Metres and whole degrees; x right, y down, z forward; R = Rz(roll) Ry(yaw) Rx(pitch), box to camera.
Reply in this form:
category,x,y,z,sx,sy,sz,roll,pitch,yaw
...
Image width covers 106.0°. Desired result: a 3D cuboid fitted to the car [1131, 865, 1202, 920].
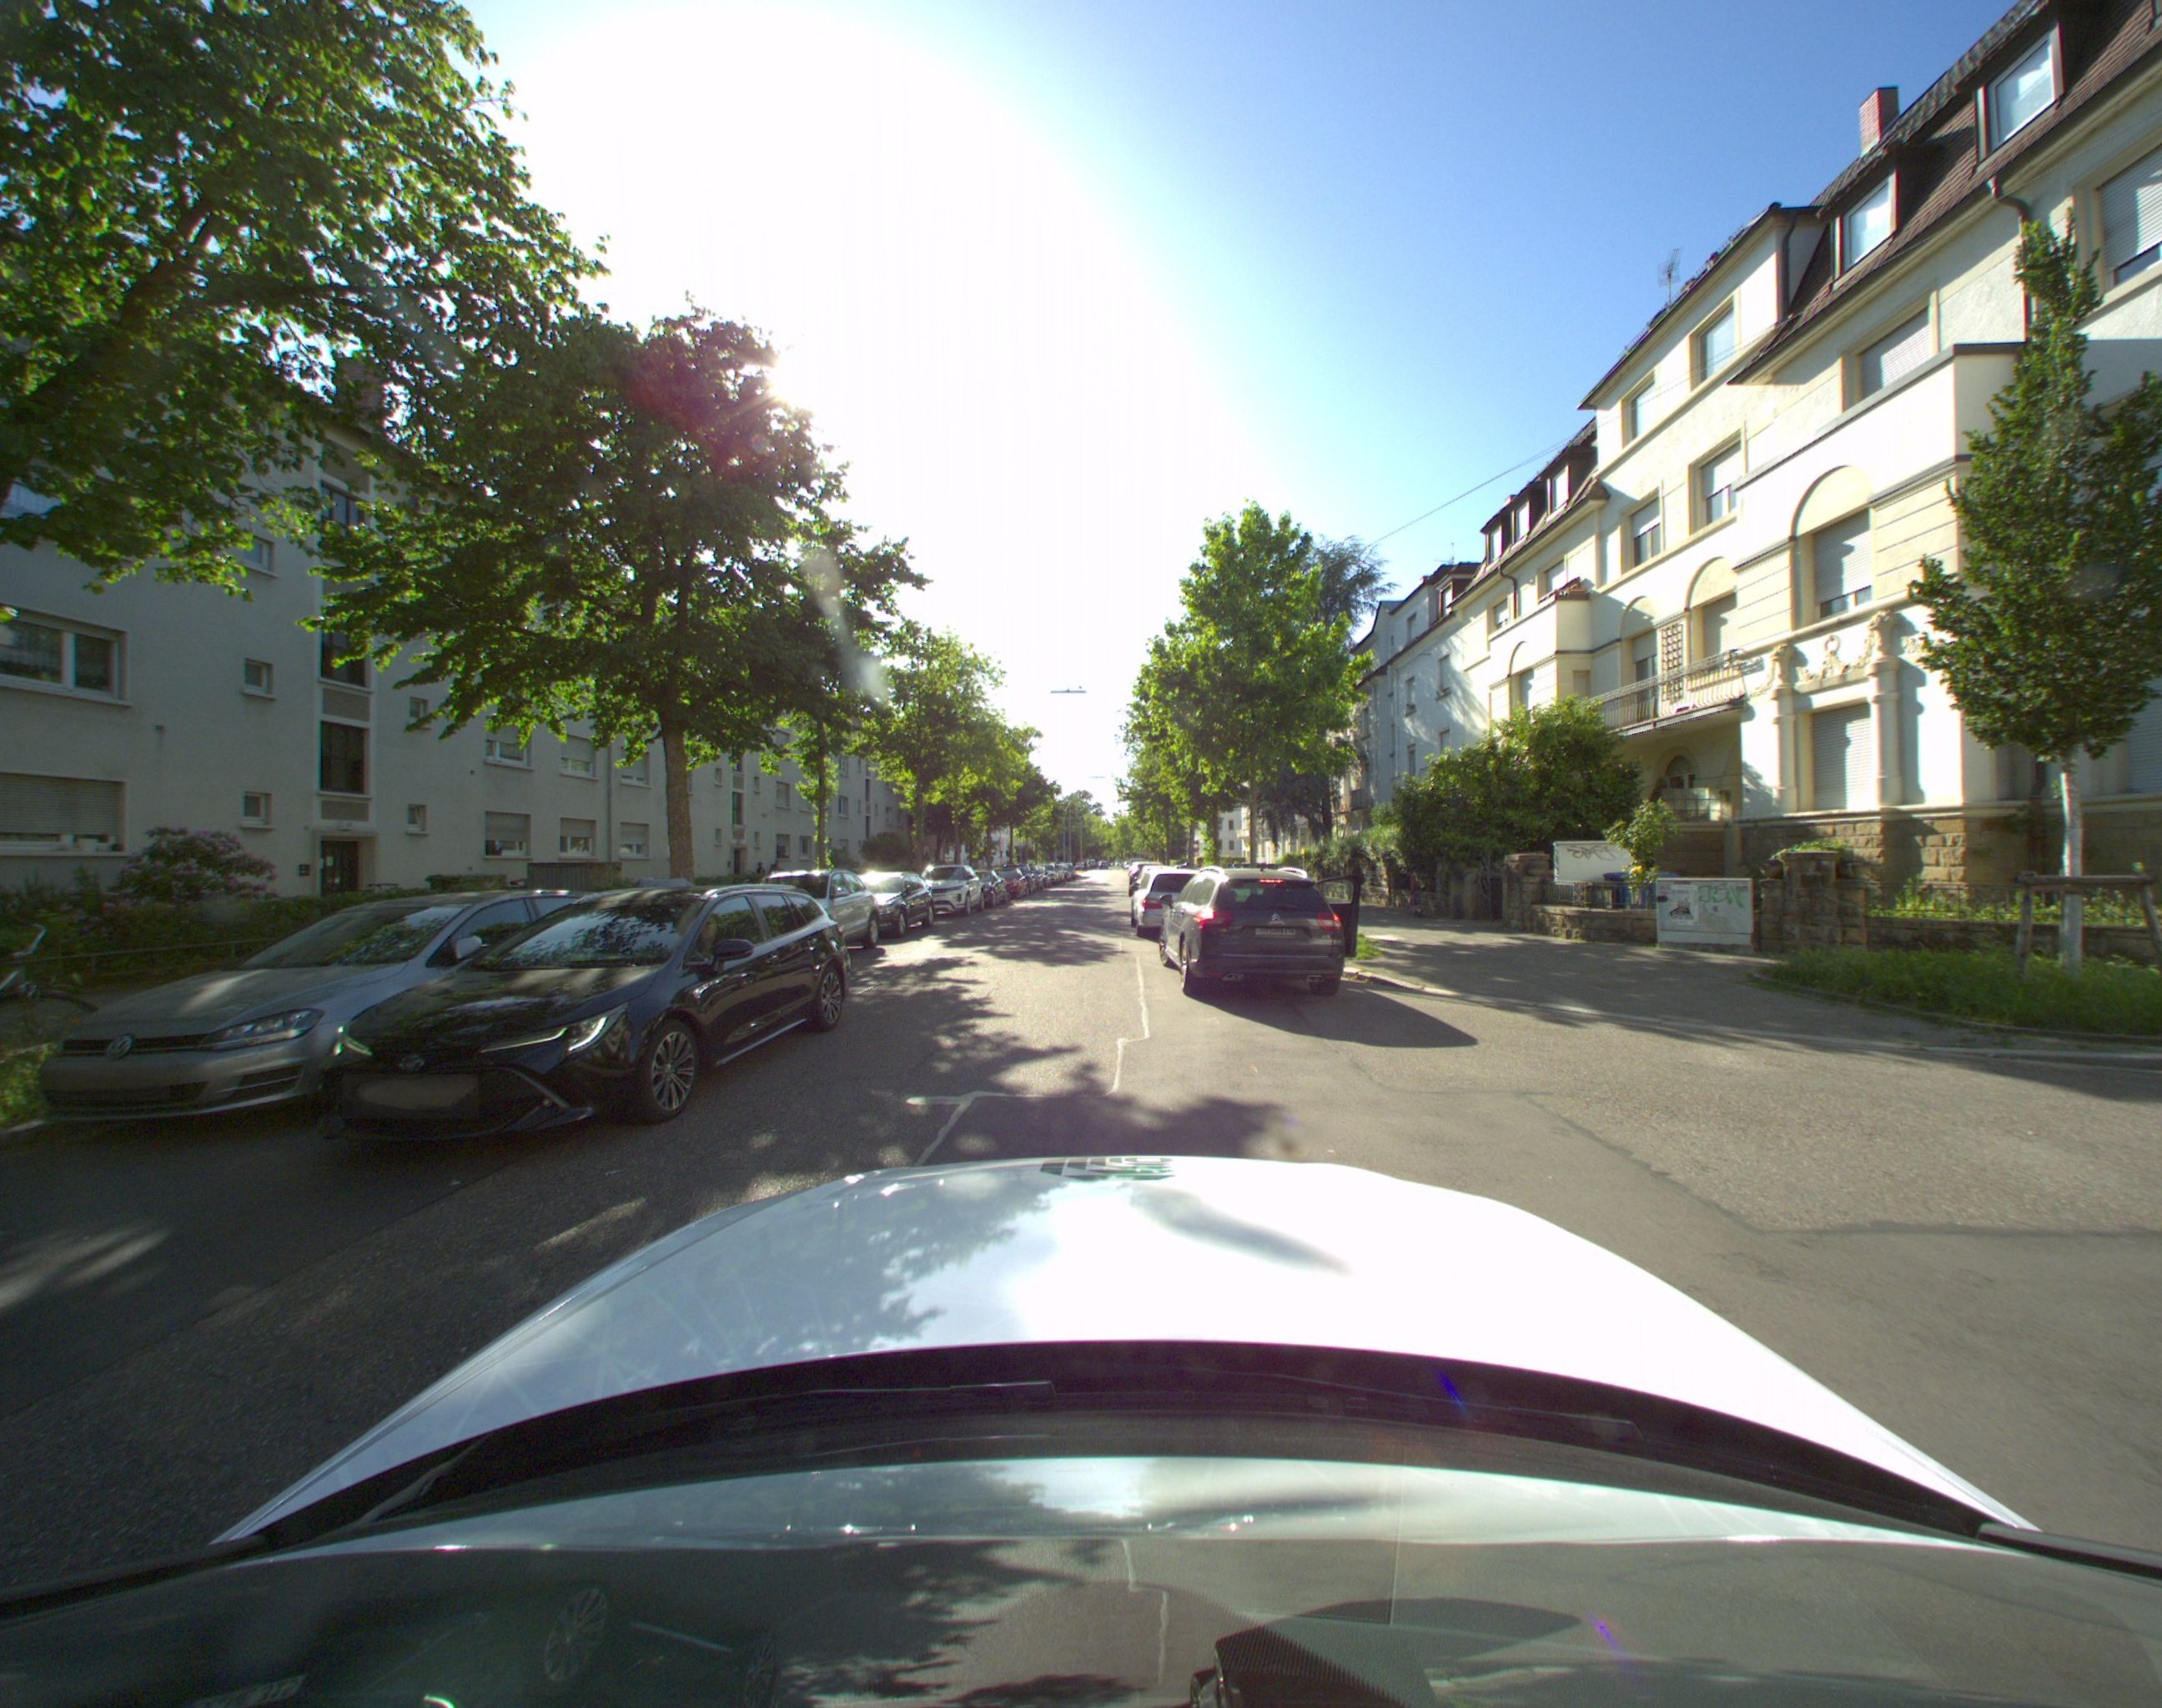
category,x,y,z,sx,sy,sz,roll,pitch,yaw
car,2.406,1.053,23.958,1.704,1.410,4.863,1,0,2

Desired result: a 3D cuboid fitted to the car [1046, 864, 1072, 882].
category,x,y,z,sx,sy,sz,roll,pitch,yaw
car,-1.944,1.703,73.415,1.986,1.453,4.264,-3,-1,2

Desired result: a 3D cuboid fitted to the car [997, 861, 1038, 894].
category,x,y,z,sx,sy,sz,roll,pitch,yaw
car,-3.374,1.226,43.887,1.784,1.566,4.464,-4,-1,0

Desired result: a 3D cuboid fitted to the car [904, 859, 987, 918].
category,x,y,z,sx,sy,sz,roll,pitch,yaw
car,-4.297,1.052,26.451,1.722,1.618,4.368,-4,-1,2

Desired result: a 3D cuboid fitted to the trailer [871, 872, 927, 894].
category,x,y,z,sx,sy,sz,roll,pitch,yaw
trailer,-9.132,1.447,41.095,1.780,1.034,3.286,-1,-1,5

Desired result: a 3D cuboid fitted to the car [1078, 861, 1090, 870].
category,x,y,z,sx,sy,sz,roll,pitch,yaw
car,0.587,2.059,148.920,1.985,1.585,4.003,-1,0,3

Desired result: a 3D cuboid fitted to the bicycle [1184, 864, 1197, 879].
category,x,y,z,sx,sy,sz,roll,pitch,yaw
bicycle,8.552,1.360,63.951,0.681,1.153,2.402,-1,-1,0

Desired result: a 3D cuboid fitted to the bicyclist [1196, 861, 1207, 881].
category,x,y,z,sx,sy,sz,roll,pitch,yaw
bicyclist,9.370,1.291,63.386,0.674,1.553,1.021,-1,-1,0

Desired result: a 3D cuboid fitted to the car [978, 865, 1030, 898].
category,x,y,z,sx,sy,sz,roll,pitch,yaw
car,-3.587,1.271,38.666,1.772,1.379,4.266,-3,-1,3

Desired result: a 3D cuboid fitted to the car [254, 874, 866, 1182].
category,x,y,z,sx,sy,sz,roll,pitch,yaw
car,-3.263,0.949,6.363,1.802,1.446,4.368,-2,-1,2

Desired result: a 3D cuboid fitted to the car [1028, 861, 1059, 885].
category,x,y,z,sx,sy,sz,roll,pitch,yaw
car,-2.682,1.343,59.117,1.804,1.596,4.235,-1,-1,3

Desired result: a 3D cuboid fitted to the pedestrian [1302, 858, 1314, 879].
category,x,y,z,sx,sy,sz,roll,pitch,yaw
pedestrian,12.814,0.816,46.012,0.507,1.142,0.756,0,-1,1

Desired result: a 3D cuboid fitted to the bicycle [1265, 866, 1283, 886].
category,x,y,z,sx,sy,sz,roll,pitch,yaw
bicycle,9.537,1.080,40.320,0.578,0.975,1.906,-1,-1,5

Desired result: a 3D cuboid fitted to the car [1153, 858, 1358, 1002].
category,x,y,z,sx,sy,sz,roll,pitch,yaw
car,2.069,0.858,11.151,1.888,1.524,4.968,0,-1,2

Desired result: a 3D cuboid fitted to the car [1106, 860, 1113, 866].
category,x,y,z,sx,sy,sz,roll,pitch,yaw
car,7.449,2.304,213.175,1.887,1.560,4.002,-1,-1,2

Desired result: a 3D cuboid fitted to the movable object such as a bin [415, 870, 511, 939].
category,x,y,z,sx,sy,sz,roll,pitch,yaw
movable object such as a bin,-12.663,1.001,16.745,0.927,1.324,1.378,-1,-1,-2

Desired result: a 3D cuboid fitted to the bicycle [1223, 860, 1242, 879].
category,x,y,z,sx,sy,sz,roll,pitch,yaw
bicycle,10.440,1.051,56.184,0.836,1.257,2.230,0,-1,-1

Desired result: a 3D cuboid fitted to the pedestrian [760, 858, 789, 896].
category,x,y,z,sx,sy,sz,roll,pitch,yaw
pedestrian,-15.359,1.149,40.824,0.927,1.888,1.029,-1,-1,11

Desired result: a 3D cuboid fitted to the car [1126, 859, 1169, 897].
category,x,y,z,sx,sy,sz,roll,pitch,yaw
car,3.208,1.078,39.257,1.917,1.652,5.101,1,0,5

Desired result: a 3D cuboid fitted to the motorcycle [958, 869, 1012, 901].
category,x,y,z,sx,sy,sz,roll,pitch,yaw
motorcycle,-4.170,1.339,35.426,2.284,1.270,0.806,-2,-1,-8

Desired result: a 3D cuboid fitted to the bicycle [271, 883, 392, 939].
category,x,y,z,sx,sy,sz,roll,pitch,yaw
bicycle,-15.777,1.171,17.223,0.784,1.041,1.934,-1,-1,-1

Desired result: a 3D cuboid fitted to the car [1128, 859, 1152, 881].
category,x,y,z,sx,sy,sz,roll,pitch,yaw
car,4.951,1.326,68.943,1.899,1.699,4.316,2,0,3

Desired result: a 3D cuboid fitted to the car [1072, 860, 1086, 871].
category,x,y,z,sx,sy,sz,roll,pitch,yaw
car,-0.260,1.914,133.644,1.985,1.671,4.003,-1,0,3

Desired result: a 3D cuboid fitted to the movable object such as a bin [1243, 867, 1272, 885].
category,x,y,z,sx,sy,sz,roll,pitch,yaw
movable object such as a bin,9.493,1.171,43.834,1.210,0.905,1.673,-1,0,23

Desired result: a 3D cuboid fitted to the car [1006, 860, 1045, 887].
category,x,y,z,sx,sy,sz,roll,pitch,yaw
car,-3.284,1.134,48.843,1.822,1.453,4.125,-2,-1,3

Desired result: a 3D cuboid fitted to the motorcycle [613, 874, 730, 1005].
category,x,y,z,sx,sy,sz,roll,pitch,yaw
motorcycle,-5.446,1.031,10.746,0.994,1.503,2.208,-1,-1,-37

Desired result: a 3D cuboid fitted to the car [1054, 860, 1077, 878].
category,x,y,z,sx,sy,sz,roll,pitch,yaw
car,-1.483,1.466,79.480,1.832,1.595,4.264,-3,-1,2

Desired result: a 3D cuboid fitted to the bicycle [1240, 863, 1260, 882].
category,x,y,z,sx,sy,sz,roll,pitch,yaw
bicycle,10.192,1.087,49.234,0.801,1.115,2.000,0,-1,0

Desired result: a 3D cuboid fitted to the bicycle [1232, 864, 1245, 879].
category,x,y,z,sx,sy,sz,roll,pitch,yaw
bicycle,10.398,1.128,53.781,0.593,0.957,1.905,-1,-1,3

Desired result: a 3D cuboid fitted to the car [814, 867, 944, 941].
category,x,y,z,sx,sy,sz,roll,pitch,yaw
car,-4.738,1.107,19.893,1.721,1.447,4.823,-3,0,2

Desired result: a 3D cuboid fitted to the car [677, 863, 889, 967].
category,x,y,z,sx,sy,sz,roll,pitch,yaw
car,-5.078,0.953,14.715,2.057,1.524,4.721,-1,0,0

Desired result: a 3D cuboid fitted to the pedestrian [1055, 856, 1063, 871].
category,x,y,z,sx,sy,sz,roll,pitch,yaw
pedestrian,-3.037,1.239,111.427,0.853,2.014,0.984,-1,-1,11

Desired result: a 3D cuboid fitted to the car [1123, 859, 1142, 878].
category,x,y,z,sx,sy,sz,roll,pitch,yaw
car,5.659,1.553,89.396,1.963,1.949,4.988,-1,-1,2

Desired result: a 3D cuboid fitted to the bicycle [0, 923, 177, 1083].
category,x,y,z,sx,sy,sz,roll,pitch,yaw
bicycle,-7.945,1.102,5.738,0.527,1.015,2.095,6,1,9

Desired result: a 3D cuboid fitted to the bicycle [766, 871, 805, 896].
category,x,y,z,sx,sy,sz,roll,pitch,yaw
bicycle,-14.311,1.405,39.547,0.508,1.153,1.966,-1,-1,26

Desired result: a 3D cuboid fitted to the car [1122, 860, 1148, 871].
category,x,y,z,sx,sy,sz,roll,pitch,yaw
car,8.706,1.821,130.785,3.975,1.587,1.726,-1,0,-1

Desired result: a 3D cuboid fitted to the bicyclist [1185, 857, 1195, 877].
category,x,y,z,sx,sy,sz,roll,pitch,yaw
bicyclist,8.541,1.012,63.942,0.675,1.609,0.921,-1,-1,0

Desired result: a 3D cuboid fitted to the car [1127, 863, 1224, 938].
category,x,y,z,sx,sy,sz,roll,pitch,yaw
car,2.057,0.966,18.976,1.814,1.469,4.911,1,0,2

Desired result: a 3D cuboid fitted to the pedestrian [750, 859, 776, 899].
category,x,y,z,sx,sy,sz,roll,pitch,yaw
pedestrian,-15.416,1.195,39.492,0.773,1.913,0.884,-2,-1,30

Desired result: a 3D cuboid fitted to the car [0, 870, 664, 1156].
category,x,y,z,sx,sy,sz,roll,pitch,yaw
car,-5.717,0.942,6.899,2.037,1.524,4.603,-1,0,-1

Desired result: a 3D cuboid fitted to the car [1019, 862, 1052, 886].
category,x,y,z,sx,sy,sz,roll,pitch,yaw
car,-2.968,1.264,53.582,1.755,1.444,3.911,-3,-1,2

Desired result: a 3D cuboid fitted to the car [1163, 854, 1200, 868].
category,x,y,z,sx,sy,sz,roll,pitch,yaw
car,14.086,0.988,114.140,5.103,1.822,1.980,0,-1,-31

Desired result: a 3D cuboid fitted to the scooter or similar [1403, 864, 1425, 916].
category,x,y,z,sx,sy,sz,roll,pitch,yaw
scooter or similar,8.097,0.857,19.835,0.398,1.185,1.211,-1,0,18

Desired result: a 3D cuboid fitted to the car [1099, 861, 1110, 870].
category,x,y,z,sx,sy,sz,roll,pitch,yaw
car,4.396,2.140,153.035,1.778,1.609,3.998,-1,-1,-1

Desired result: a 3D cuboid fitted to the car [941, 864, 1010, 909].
category,x,y,z,sx,sy,sz,roll,pitch,yaw
car,-4.037,1.214,31.788,1.721,1.477,4.623,-4,-1,3

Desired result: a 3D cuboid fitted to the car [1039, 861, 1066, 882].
category,x,y,z,sx,sy,sz,roll,pitch,yaw
car,-2.236,1.362,64.896,1.703,1.544,3.934,-3,-1,3

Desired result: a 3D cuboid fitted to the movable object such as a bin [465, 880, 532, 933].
category,x,y,z,sx,sy,sz,roll,pitch,yaw
movable object such as a bin,-12.714,1.127,17.797,0.927,1.092,0.754,-1,-1,-3

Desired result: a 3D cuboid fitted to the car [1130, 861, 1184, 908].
category,x,y,z,sx,sy,sz,roll,pitch,yaw
car,2.705,1.062,29.681,1.648,1.532,3.971,2,0,2

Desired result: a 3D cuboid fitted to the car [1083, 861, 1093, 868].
category,x,y,z,sx,sy,sz,roll,pitch,yaw
car,1.497,2.183,170.703,1.985,1.585,4.003,-1,0,3

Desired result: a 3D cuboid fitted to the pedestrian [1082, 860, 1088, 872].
category,x,y,z,sx,sy,sz,roll,pitch,yaw
pedestrian,0.651,1.899,131.919,0.714,1.900,0.835,-1,-1,-7
